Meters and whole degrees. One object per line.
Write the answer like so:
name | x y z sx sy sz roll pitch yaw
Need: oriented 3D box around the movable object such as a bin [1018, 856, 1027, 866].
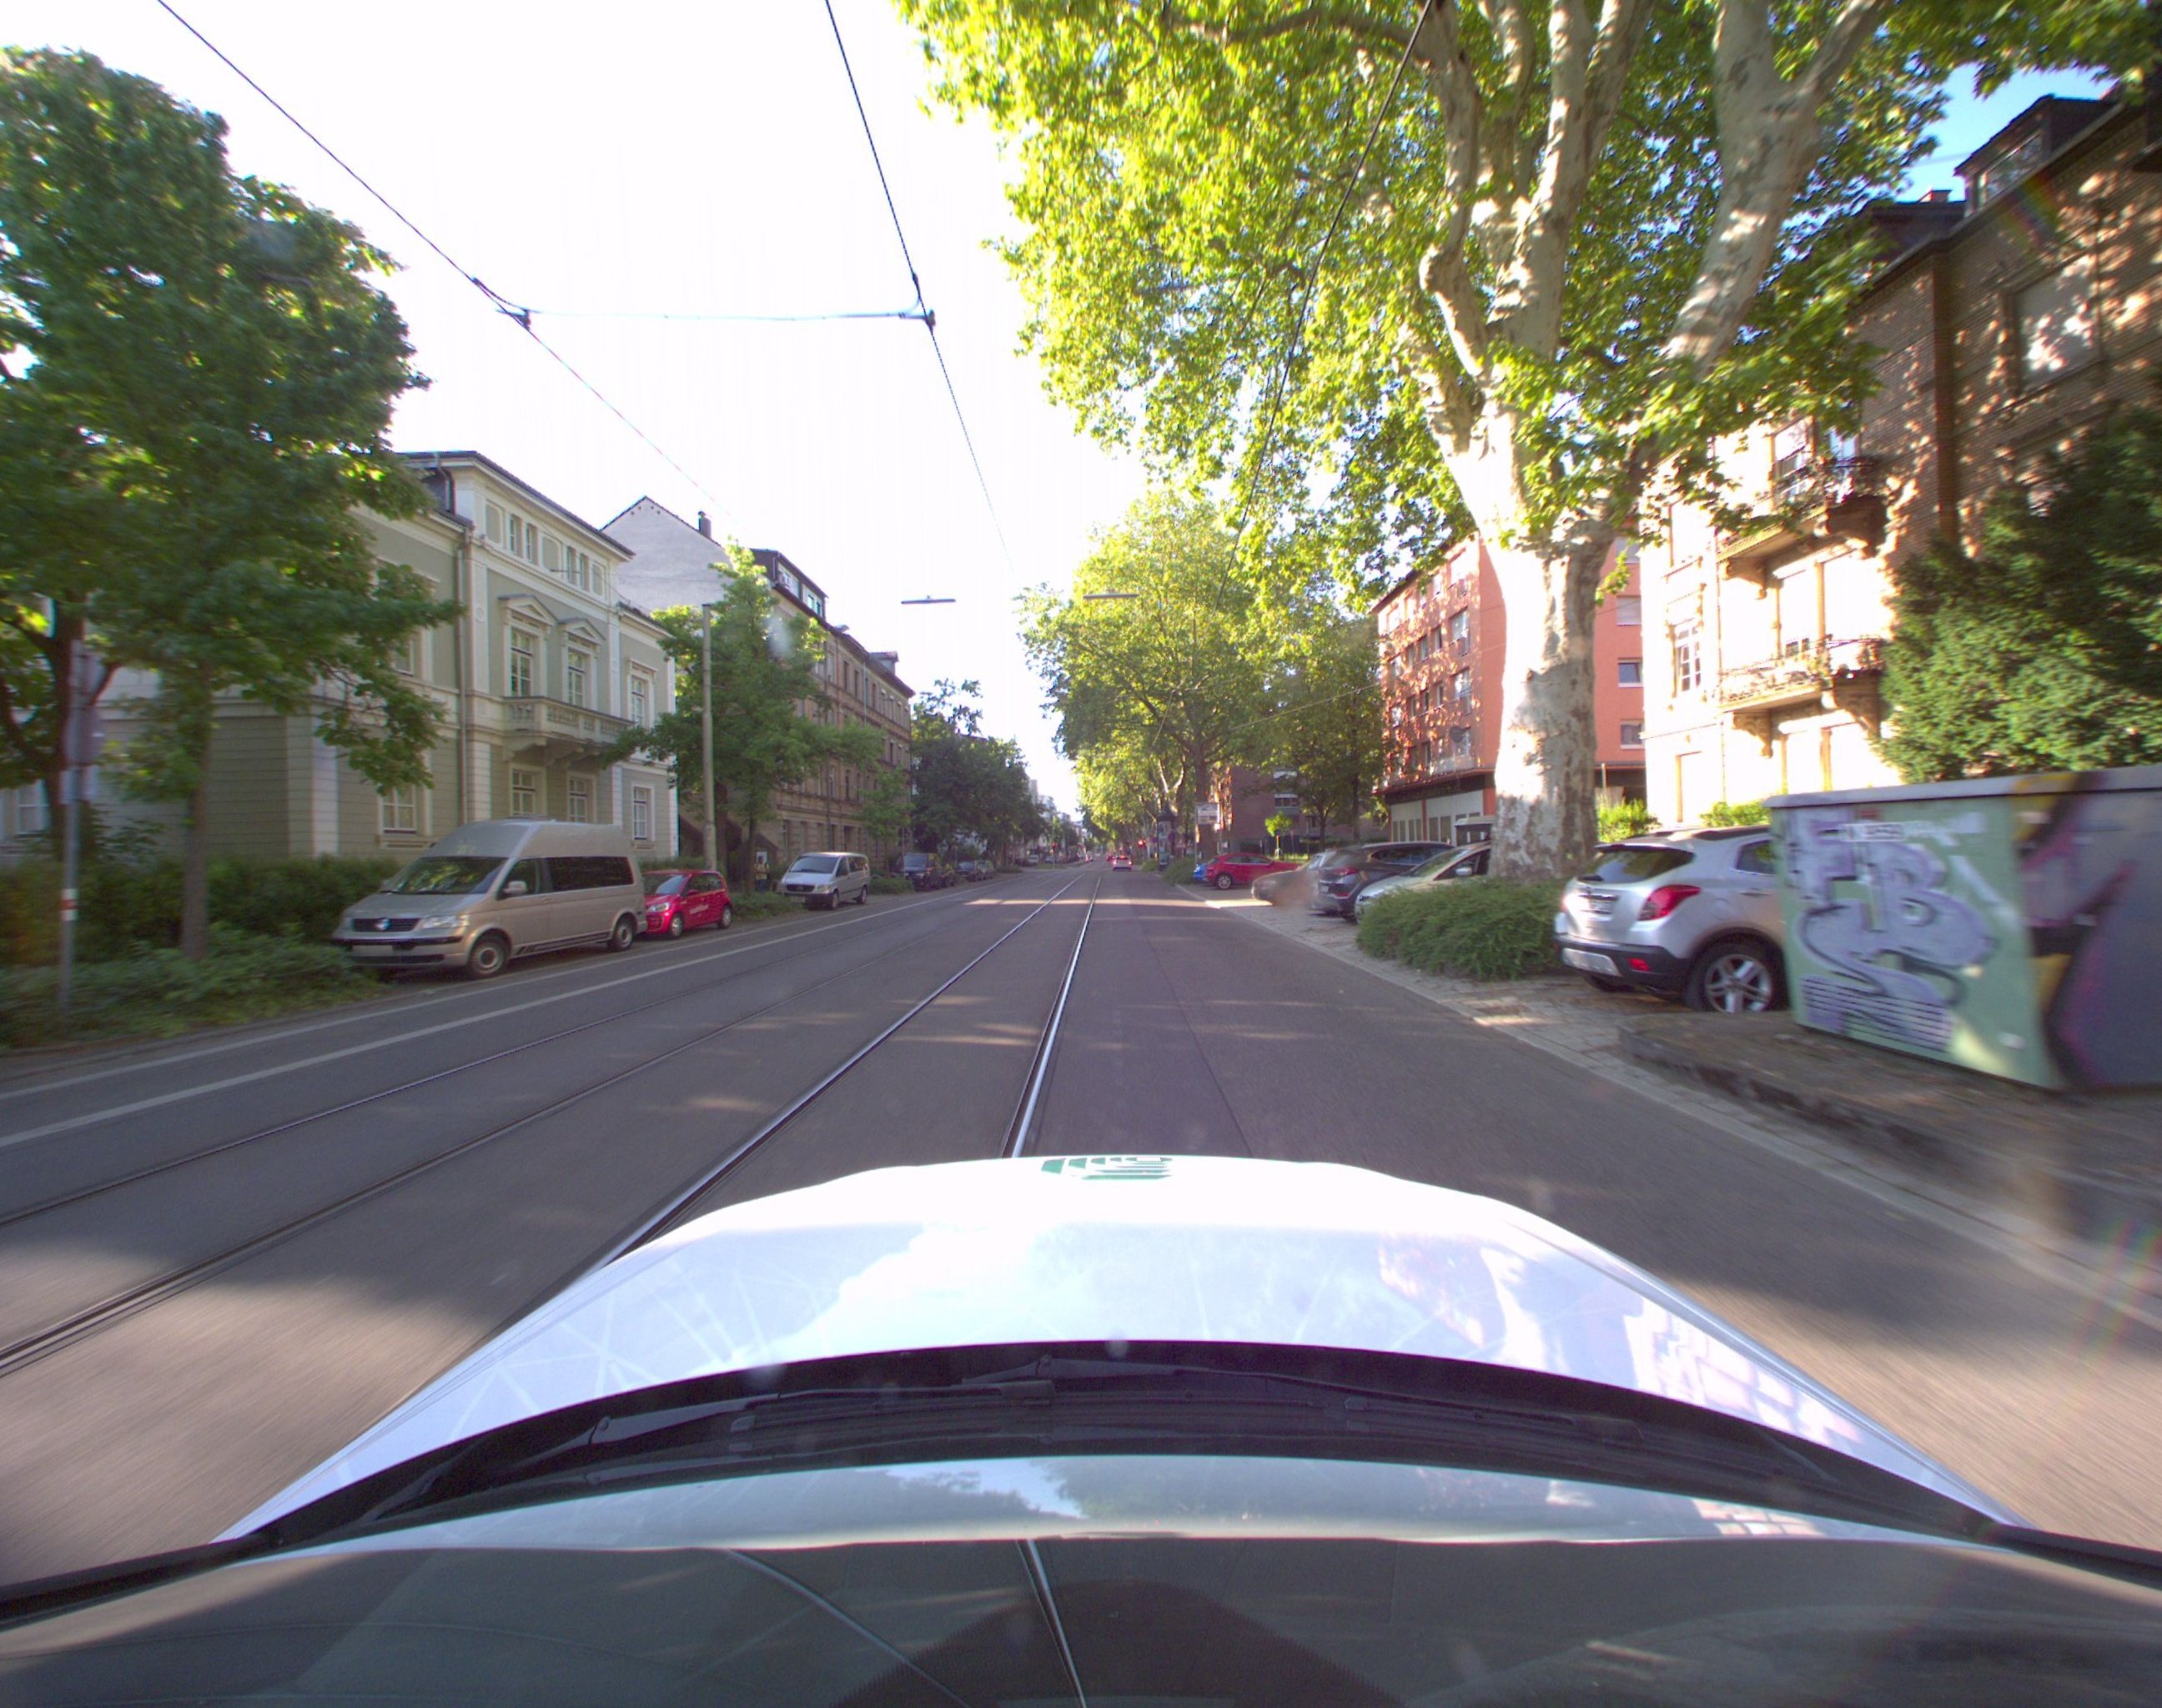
movable object such as a bin | -8.335 0.989 115.602 1.167 1.348 0.782 2 0 -3

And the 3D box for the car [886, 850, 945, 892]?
car | -8.627 0.863 42.956 1.987 2.013 4.835 -2 0 1

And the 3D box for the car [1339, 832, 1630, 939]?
car | 6.901 0.523 14.309 4.181 1.619 1.819 -2 0 3

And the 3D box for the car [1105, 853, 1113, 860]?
car | 6.365 0.495 187.326 1.782 1.513 4.001 -2 0 2

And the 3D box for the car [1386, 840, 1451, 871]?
car | 16.992 0.052 41.226 1.742 1.434 3.952 -2 0 2

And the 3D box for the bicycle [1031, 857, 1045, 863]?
bicycle | -7.481 1.051 141.909 2.244 1.074 0.637 1 0 2

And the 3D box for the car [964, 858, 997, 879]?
car | -7.845 1.096 63.896 1.692 1.550 4.542 -1 0 5

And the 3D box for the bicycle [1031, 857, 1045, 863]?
bicycle | -7.383 1.044 140.159 2.244 1.074 0.637 1 0 2

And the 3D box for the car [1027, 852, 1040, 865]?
car | -7.542 0.673 128.867 1.682 1.940 4.001 -2 0 1

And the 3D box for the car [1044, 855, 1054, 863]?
car | -6.291 0.994 161.146 1.587 1.548 4.001 0 0 2

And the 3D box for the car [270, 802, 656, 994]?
car | -9.725 0.583 13.653 2.296 2.508 5.343 -2 0 0

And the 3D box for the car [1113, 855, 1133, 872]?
car | 3.953 0.847 77.341 1.782 1.513 4.001 -2 0 2

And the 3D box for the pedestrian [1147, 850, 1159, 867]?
pedestrian | 8.228 0.465 93.124 0.980 1.863 1.015 -5 0 -4

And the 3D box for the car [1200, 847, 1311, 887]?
car | 7.413 0.544 34.922 4.384 1.543 1.954 -2 0 3

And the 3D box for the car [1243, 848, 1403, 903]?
car | 7.063 0.612 24.096 4.185 1.447 1.818 -2 0 1

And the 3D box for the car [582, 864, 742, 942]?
car | -9.561 1.052 18.921 1.679 1.539 3.708 -2 0 1

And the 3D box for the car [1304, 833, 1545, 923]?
car | 7.014 0.464 16.924 4.188 1.619 1.878 -2 0 -2

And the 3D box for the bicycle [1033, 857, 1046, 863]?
bicycle | -7.279 1.065 143.737 2.244 1.074 0.637 1 0 2

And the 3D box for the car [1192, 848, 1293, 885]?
car | 7.302 0.554 37.209 4.378 1.543 1.822 -2 0 8

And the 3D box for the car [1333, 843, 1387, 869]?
car | 18.635 0.125 54.640 1.785 1.574 4.572 -2 0 -4

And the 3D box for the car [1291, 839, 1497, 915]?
car | 7.298 0.522 19.319 4.181 1.574 1.819 -2 0 3

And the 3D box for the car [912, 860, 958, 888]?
car | -8.557 1.154 48.126 1.847 1.458 4.270 -2 0 1

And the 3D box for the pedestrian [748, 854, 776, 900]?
pedestrian | -11.730 0.843 29.992 0.602 1.662 0.948 -1 0 3

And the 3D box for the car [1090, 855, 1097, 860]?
car | 3.324 0.910 212.324 1.687 1.419 4.001 -2 0 2

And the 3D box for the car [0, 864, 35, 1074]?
car | -9.877 0.970 4.710 1.983 1.690 4.266 -2 0 4

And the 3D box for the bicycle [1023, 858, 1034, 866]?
bicycle | -7.621 1.145 117.660 1.528 1.075 0.885 1 0 0

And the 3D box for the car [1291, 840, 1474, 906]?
car | 7.879 0.487 21.603 4.181 1.555 1.819 -2 0 3

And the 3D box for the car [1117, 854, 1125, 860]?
car | 10.436 0.688 214.799 1.986 1.453 4.001 -2 0 2

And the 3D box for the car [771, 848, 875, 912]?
car | -8.940 0.838 28.718 1.836 1.989 4.991 -2 0 3

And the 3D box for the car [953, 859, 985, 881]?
car | -8.019 1.139 58.459 1.652 1.445 3.950 -1 0 1

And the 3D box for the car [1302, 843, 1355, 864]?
car | 19.102 -0.016 62.873 3.527 1.452 1.683 -2 0 -1

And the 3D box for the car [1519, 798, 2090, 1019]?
car | 6.521 0.444 7.683 3.770 1.618 1.790 -3 0 -1
